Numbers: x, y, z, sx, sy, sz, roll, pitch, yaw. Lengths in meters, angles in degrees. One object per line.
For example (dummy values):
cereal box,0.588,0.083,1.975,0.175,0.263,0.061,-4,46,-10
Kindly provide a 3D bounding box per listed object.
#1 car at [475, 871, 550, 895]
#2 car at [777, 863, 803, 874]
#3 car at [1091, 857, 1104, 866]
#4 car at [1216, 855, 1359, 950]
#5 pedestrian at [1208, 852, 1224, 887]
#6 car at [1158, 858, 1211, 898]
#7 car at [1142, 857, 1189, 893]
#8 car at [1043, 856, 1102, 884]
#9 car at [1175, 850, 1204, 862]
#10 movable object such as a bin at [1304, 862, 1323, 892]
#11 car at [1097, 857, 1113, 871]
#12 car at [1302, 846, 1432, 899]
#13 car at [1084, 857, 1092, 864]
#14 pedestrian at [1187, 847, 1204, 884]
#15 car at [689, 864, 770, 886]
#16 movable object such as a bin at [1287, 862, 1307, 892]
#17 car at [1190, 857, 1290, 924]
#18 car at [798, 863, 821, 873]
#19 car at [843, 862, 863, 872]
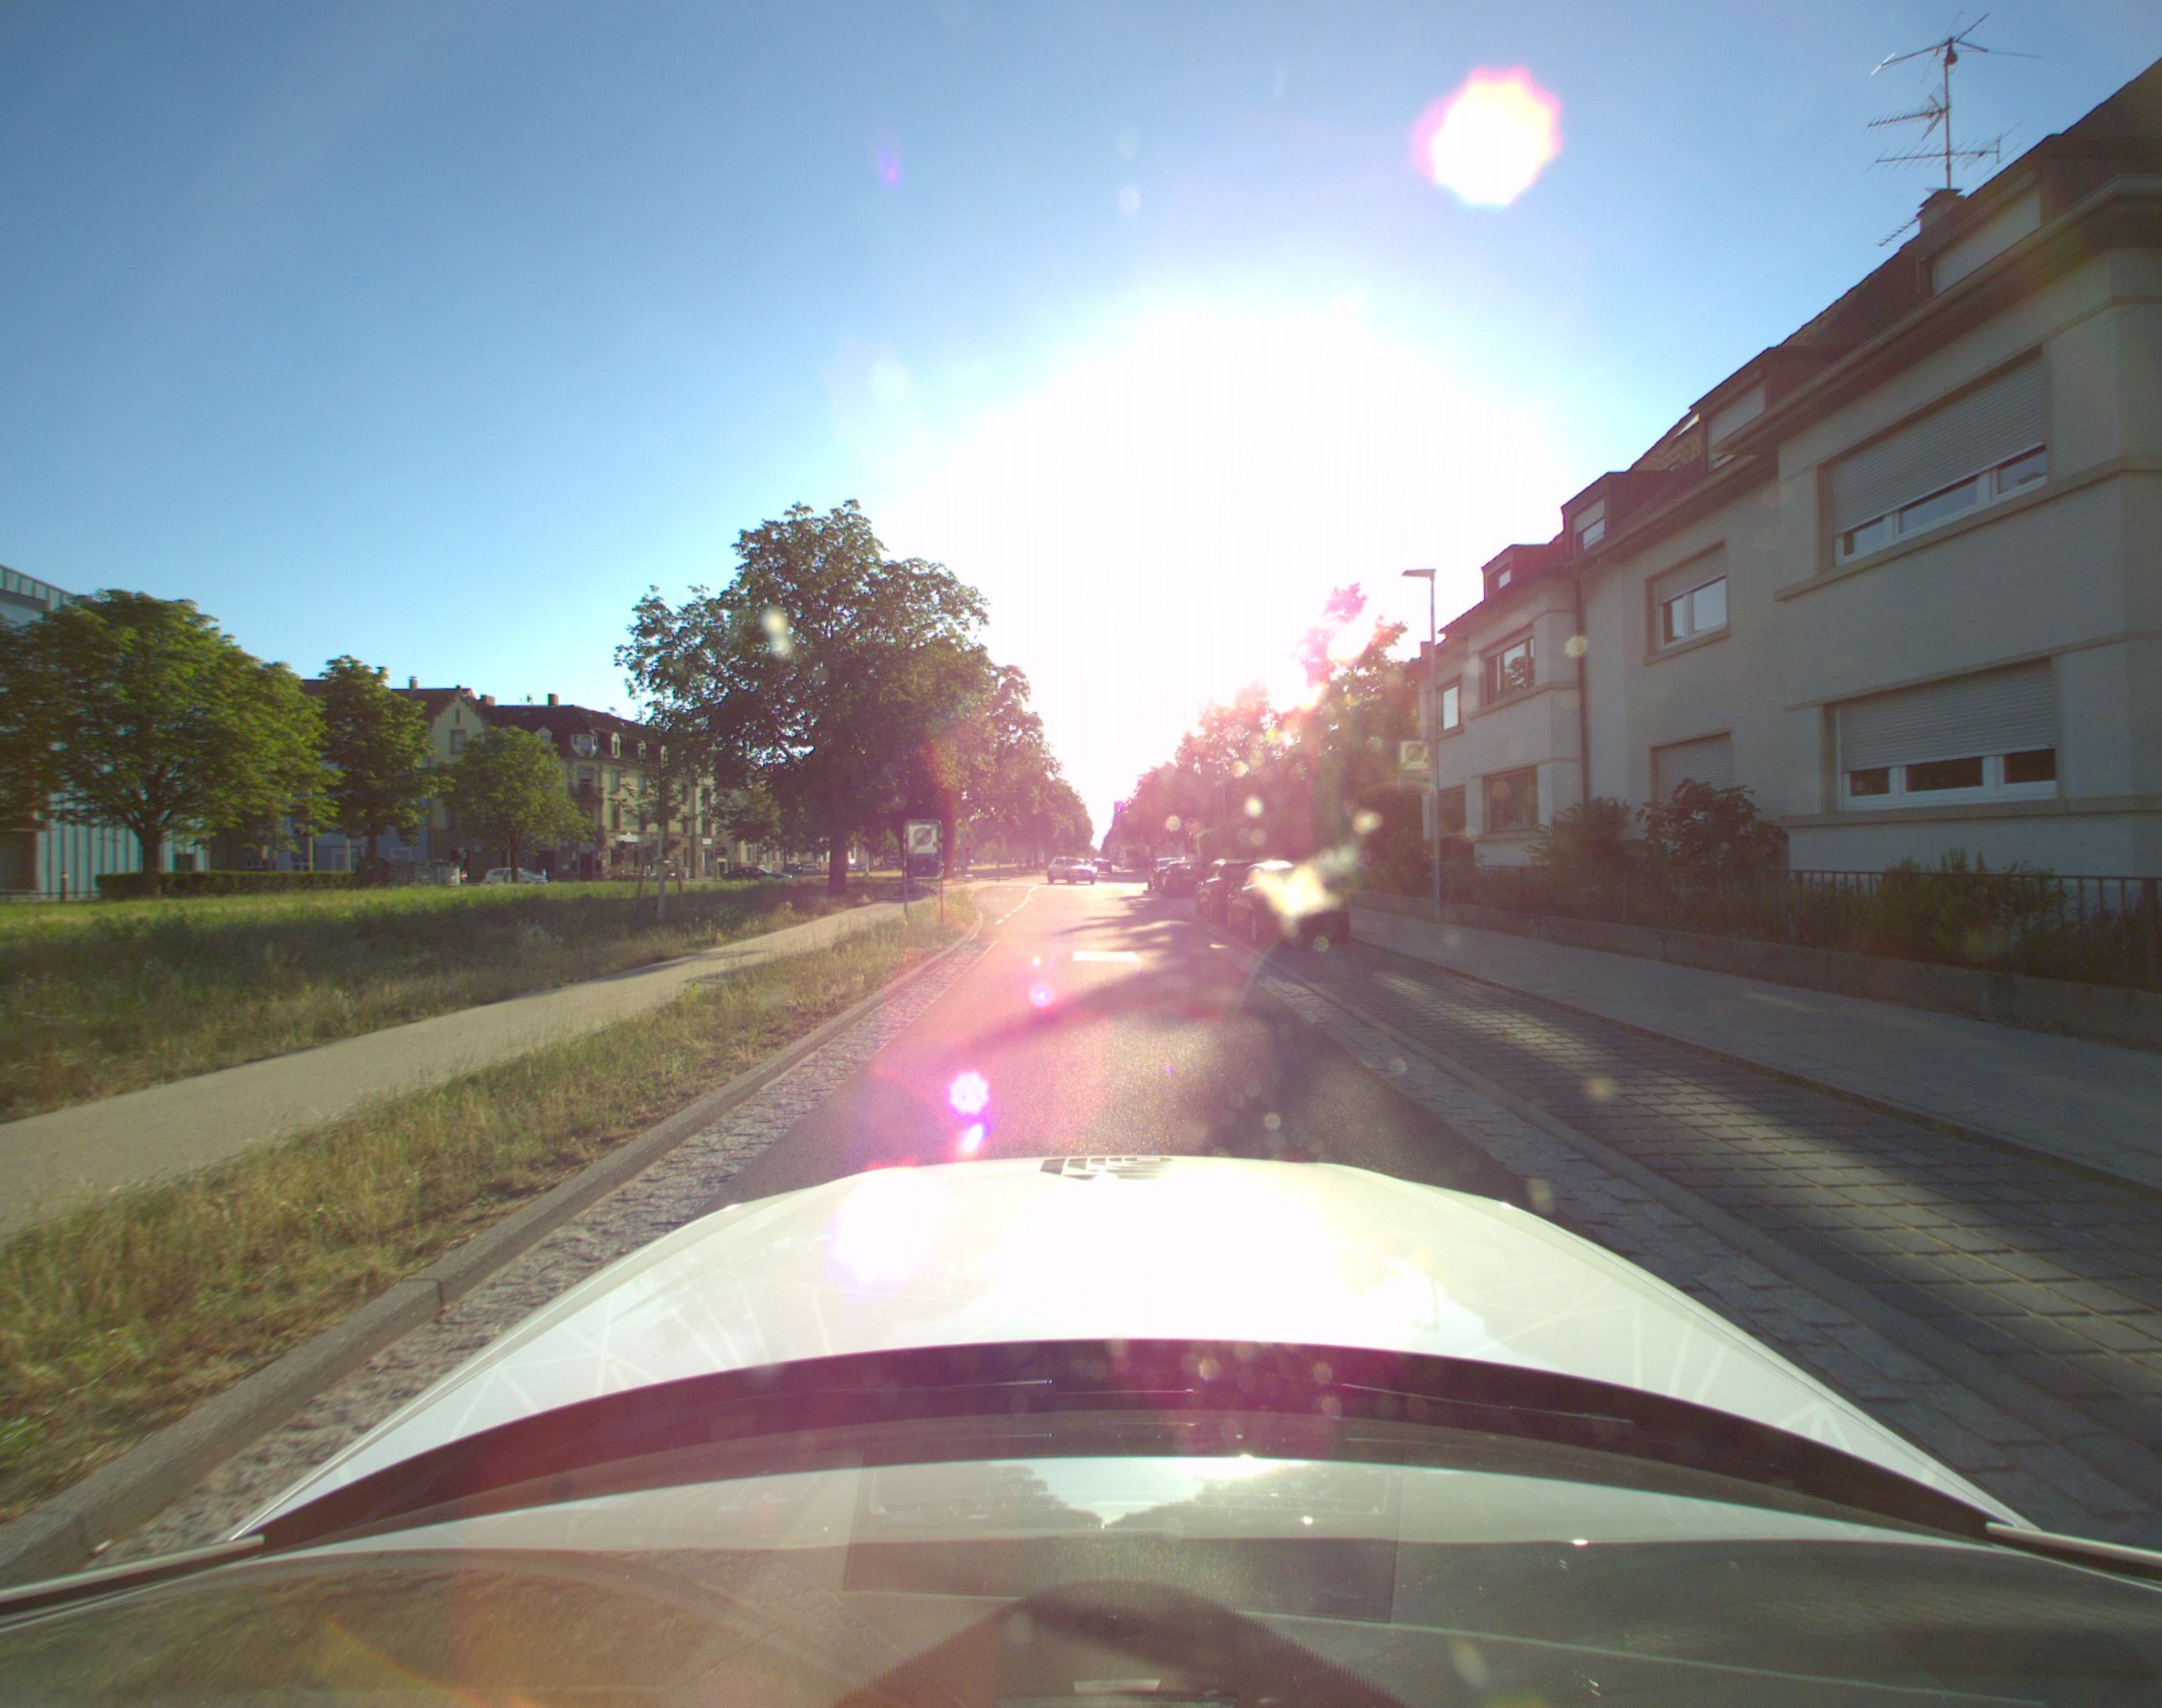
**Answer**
car,-37.877,1.899,54.325,3.687,1.488,1.735,-1,0,-11
car,-40.285,2.027,112.802,1.728,1.397,3.800,-1,0,8
car,2.473,1.102,123.391,1.838,1.394,3.830,0,0,2
car,3.811,0.821,15.712,1.713,1.471,3.983,-4,0,0
pedestrian,6.758,0.775,40.821,0.667,1.708,0.622,-1,-1,-2
car,4.061,0.907,32.464,1.635,1.427,3.937,-3,0,1
car,3.962,0.948,38.857,1.852,1.542,4.874,-1,0,1
car,-0.563,0.981,51.374,1.902,1.676,4.384,0,0,-28
car,14.679,0.252,110.380,3.766,1.525,1.744,-1,1,1
movable object such as a bin,8.287,0.802,29.046,0.507,1.043,0.416,-1,0,-5
car,2.694,1.097,89.385,1.634,1.451,3.310,-1,0,3
car,9.353,0.581,26.871,3.621,1.496,1.781,-3,0,1
car,1.874,1.772,226.234,2.126,2.013,3.903,-1,0,2
pedestrian,5.737,0.575,40.855,0.668,1.865,0.881,0,0,-2
car,-23.906,1.426,55.546,4.760,1.434,1.810,-1,-1,-7
movable object such as a bin,7.725,0.814,29.149,0.506,1.043,0.658,-1,0,-5
car,3.933,0.838,20.850,1.740,1.474,4.255,-1,0,0
car,-39.662,2.007,119.111,1.728,1.427,3.800,-1,0,7
car,-34.306,1.930,122.531,1.731,1.427,3.794,-1,0,2
